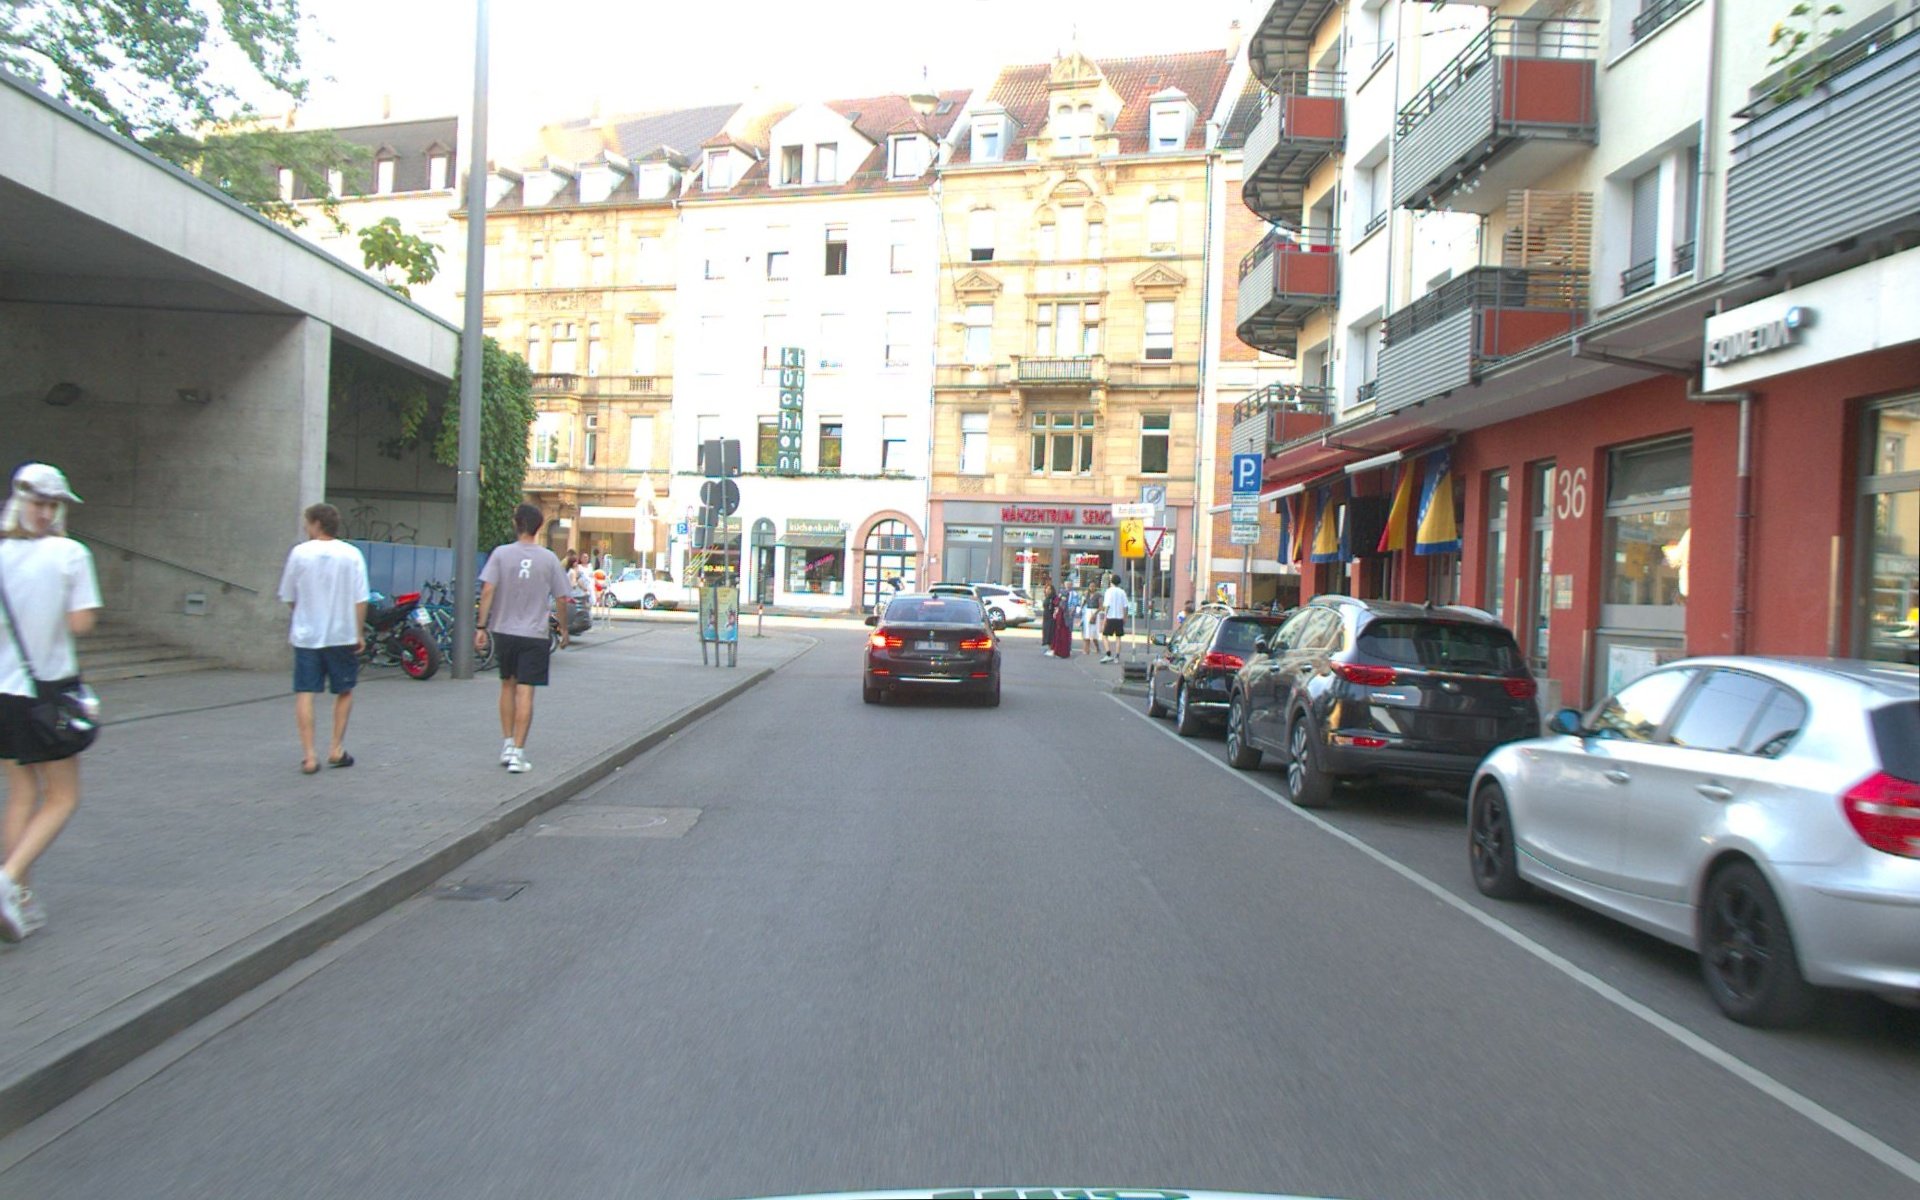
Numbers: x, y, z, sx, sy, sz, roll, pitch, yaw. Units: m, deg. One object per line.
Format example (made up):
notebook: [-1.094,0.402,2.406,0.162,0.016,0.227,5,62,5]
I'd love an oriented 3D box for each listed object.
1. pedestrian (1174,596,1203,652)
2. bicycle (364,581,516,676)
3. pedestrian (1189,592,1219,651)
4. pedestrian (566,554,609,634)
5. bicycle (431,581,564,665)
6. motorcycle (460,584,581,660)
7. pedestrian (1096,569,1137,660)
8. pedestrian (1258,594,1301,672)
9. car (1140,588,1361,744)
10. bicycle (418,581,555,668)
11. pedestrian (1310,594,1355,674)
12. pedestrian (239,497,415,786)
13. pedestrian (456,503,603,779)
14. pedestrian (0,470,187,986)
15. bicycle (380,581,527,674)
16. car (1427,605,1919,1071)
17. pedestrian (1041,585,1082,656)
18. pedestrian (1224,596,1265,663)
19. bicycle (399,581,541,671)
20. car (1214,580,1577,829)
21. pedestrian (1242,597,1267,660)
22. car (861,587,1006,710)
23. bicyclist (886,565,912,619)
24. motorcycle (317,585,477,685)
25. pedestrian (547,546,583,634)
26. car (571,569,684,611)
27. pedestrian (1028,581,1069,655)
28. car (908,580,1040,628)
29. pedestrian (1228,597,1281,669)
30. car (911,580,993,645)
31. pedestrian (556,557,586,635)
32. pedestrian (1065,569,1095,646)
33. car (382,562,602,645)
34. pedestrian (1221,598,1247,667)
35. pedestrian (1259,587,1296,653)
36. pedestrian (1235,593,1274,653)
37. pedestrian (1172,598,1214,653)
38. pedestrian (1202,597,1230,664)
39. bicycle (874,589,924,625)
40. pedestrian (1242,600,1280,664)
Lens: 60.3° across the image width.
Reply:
pedestrian: [5.297,0.546,38.405,0.604,1.276,0.736,1,1,5]
bicycle: [-6.757,0.365,21.542,1.758,1.127,0.500,3,0,-2]
pedestrian: [5.484,0.474,37.193,0.604,1.306,0.660,1,1,7]
pedestrian: [-8.342,-0.141,37.080,0.661,1.776,0.654,2,1,38]
bicycle: [-6.810,0.336,24.397,1.758,1.127,0.500,3,0,-2]
motorcycle: [-6.936,0.357,26.139,1.731,1.120,0.560,3,0,-36]
pedestrian: [3.330,0.301,35.246,0.663,1.910,0.700,2,0,-5]
pedestrian: [5.433,0.546,28.154,0.672,1.309,0.609,0,0,8]
car: [3.414,0.703,20.341,1.729,1.528,4.790,4,1,-1]
bicycle: [-6.745,0.347,23.590,1.759,1.127,0.500,3,0,-4]
pedestrian: [6.424,0.580,28.571,0.594,1.371,0.696,0,0,-2]
pedestrian: [-4.311,0.267,11.344,0.726,1.844,1.008,4,0,-2]
pedestrian: [-3.168,0.283,12.267,0.729,1.926,1.050,3,1,-1]
pedestrian: [-3.467,0.428,6.205,0.636,1.780,0.985,2,1,-2]
bicycle: [-6.773,0.362,22.136,1.757,1.127,0.500,3,0,1]
car: [3.844,0.875,7.922,1.665,1.477,4.456,4,1,-3]
pedestrian: [2.296,0.465,37.327,0.722,1.539,0.649,3,0,-10]
pedestrian: [5.651,0.588,32.901,0.622,1.298,0.504,-2,1,-39]
bicycle: [-6.768,0.357,22.885,1.760,1.127,0.499,3,0,-6]
car: [3.544,0.735,14.452,1.729,1.670,4.790,4,1,-1]
pedestrian: [6.264,0.599,35.155,0.479,1.299,0.522,1,1,12]
car: [-0.354,0.579,22.727,1.729,1.398,4.790,2,1,-1]
bicyclist: [-2.044,-0.272,55.243,0.609,1.787,0.522,2,0,42]
motorcycle: [-6.843,0.413,20.107,1.764,1.082,0.764,3,0,24]
pedestrian: [-8.672,-0.221,36.342,0.571,1.915,0.634,1,1,4]
car: [-12.835,-0.383,63.913,3.905,1.537,1.800,1,0,21]
pedestrian: [2.028,0.400,37.959,0.711,1.636,0.649,3,0,-10]
car: [0.511,0.133,58.441,4.262,1.589,1.868,1,0,21]
pedestrian: [5.338,0.592,29.956,0.841,1.279,0.491,-1,0,-1]
car: [-0.145,0.268,41.494,1.838,1.498,4.002,1,1,2]
pedestrian: [-8.400,-0.089,35.730,0.490,1.671,0.521,1,1,1]
pedestrian: [2.806,0.172,38.762,0.653,1.776,0.607,1,1,5]
car: [-9.107,0.058,32.489,3.914,1.527,1.887,1,1,-10]
pedestrian: [5.181,0.616,31.274,0.337,1.279,0.359,-1,0,32]
pedestrian: [6.011,0.379,31.299,0.415,1.222,0.529,-2,1,-44]
pedestrian: [6.578,0.508,36.942,0.606,1.301,0.698,2,1,36]
pedestrian: [5.140,0.557,36.538,0.871,1.169,0.619,1,1,6]
pedestrian: [5.200,0.613,33.596,0.481,1.326,0.418,-1,0,-1]
bicycle: [-2.058,0.219,55.255,1.768,1.127,0.535,3,0,42]
pedestrian: [5.831,0.615,32.021,0.415,1.222,0.560,-2,1,-43]
